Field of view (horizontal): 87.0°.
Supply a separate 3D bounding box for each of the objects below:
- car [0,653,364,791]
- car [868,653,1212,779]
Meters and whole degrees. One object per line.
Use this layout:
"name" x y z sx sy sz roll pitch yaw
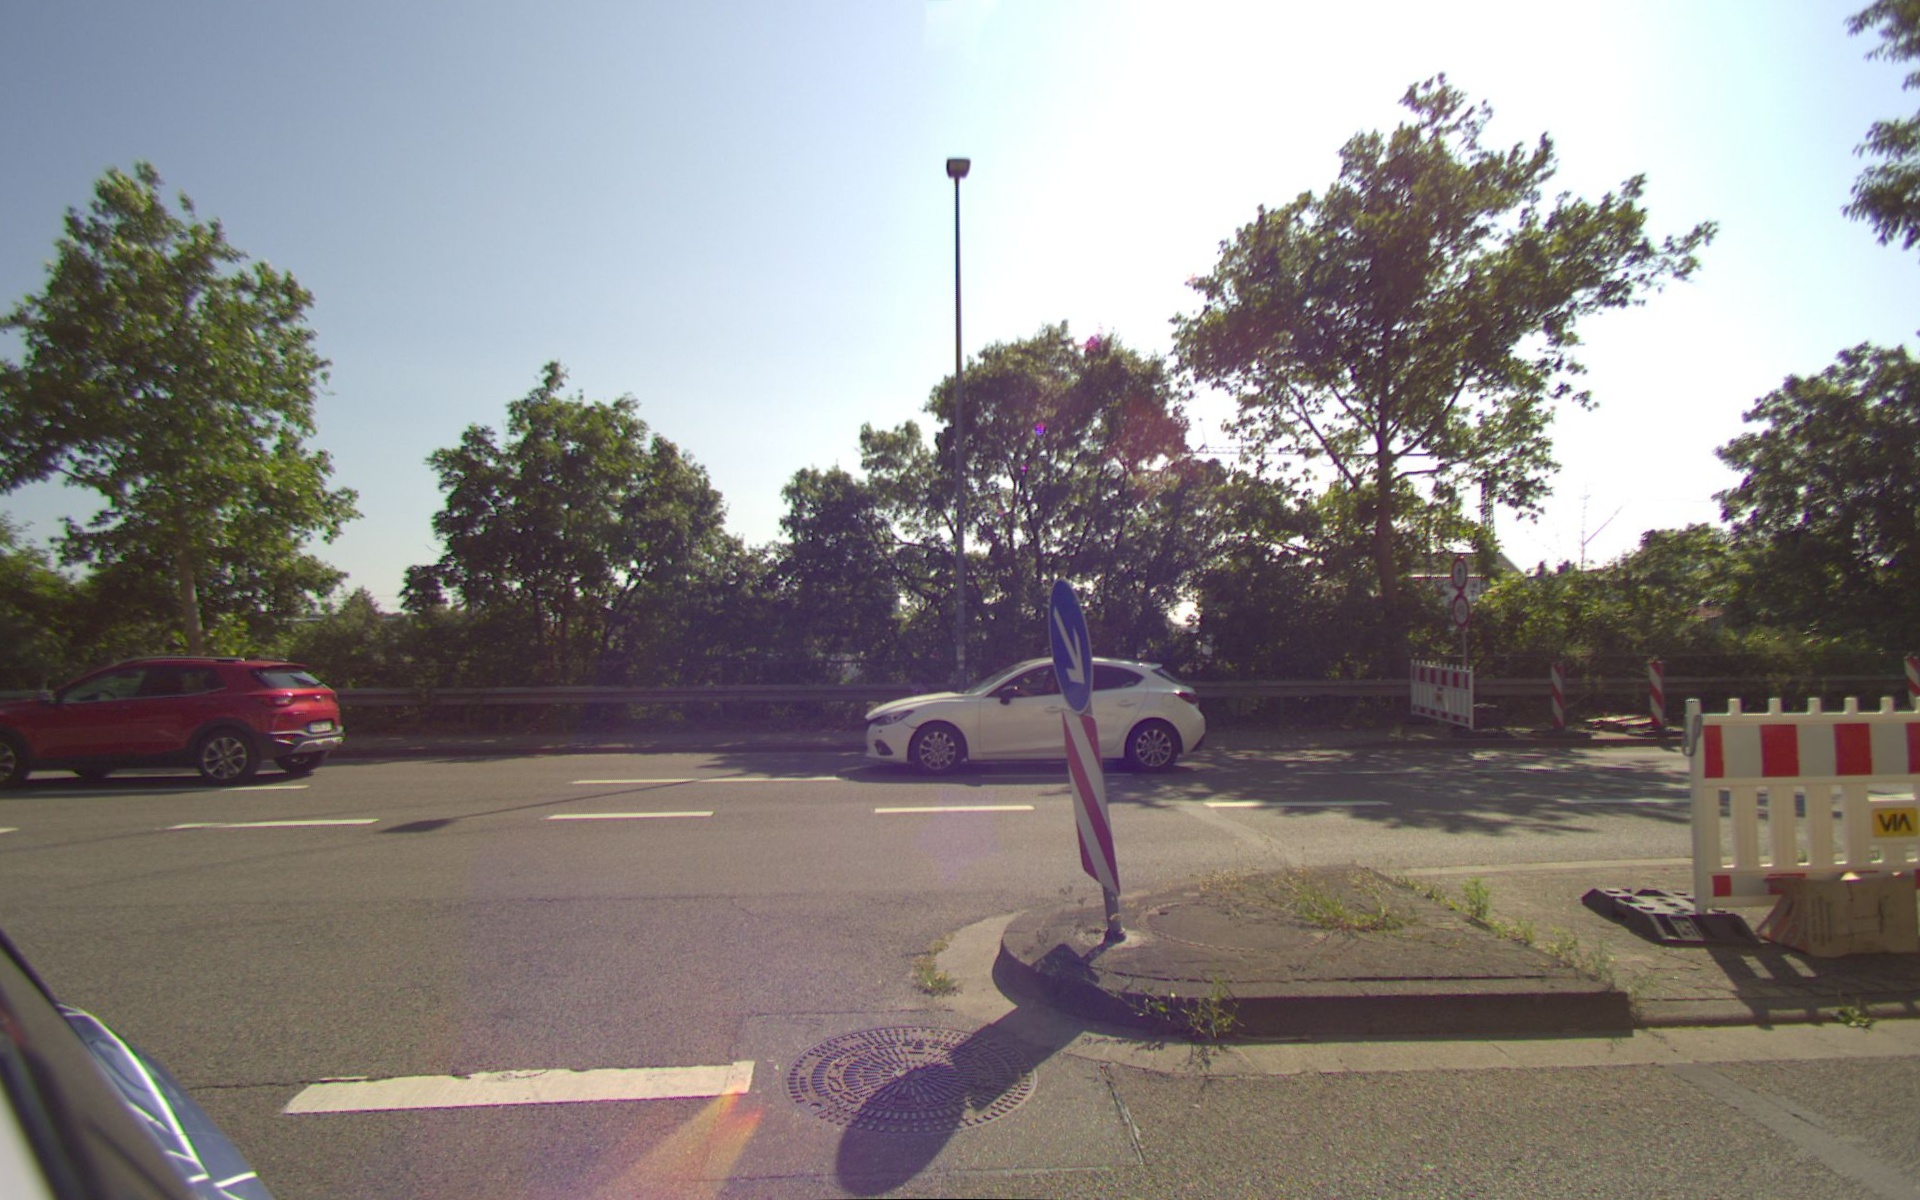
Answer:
"car" -9.899 1.456 12.557 3.904 1.531 1.804 0 -4 -5
"car" 0.908 1.455 13.118 4.142 1.464 1.871 0 -4 -4
